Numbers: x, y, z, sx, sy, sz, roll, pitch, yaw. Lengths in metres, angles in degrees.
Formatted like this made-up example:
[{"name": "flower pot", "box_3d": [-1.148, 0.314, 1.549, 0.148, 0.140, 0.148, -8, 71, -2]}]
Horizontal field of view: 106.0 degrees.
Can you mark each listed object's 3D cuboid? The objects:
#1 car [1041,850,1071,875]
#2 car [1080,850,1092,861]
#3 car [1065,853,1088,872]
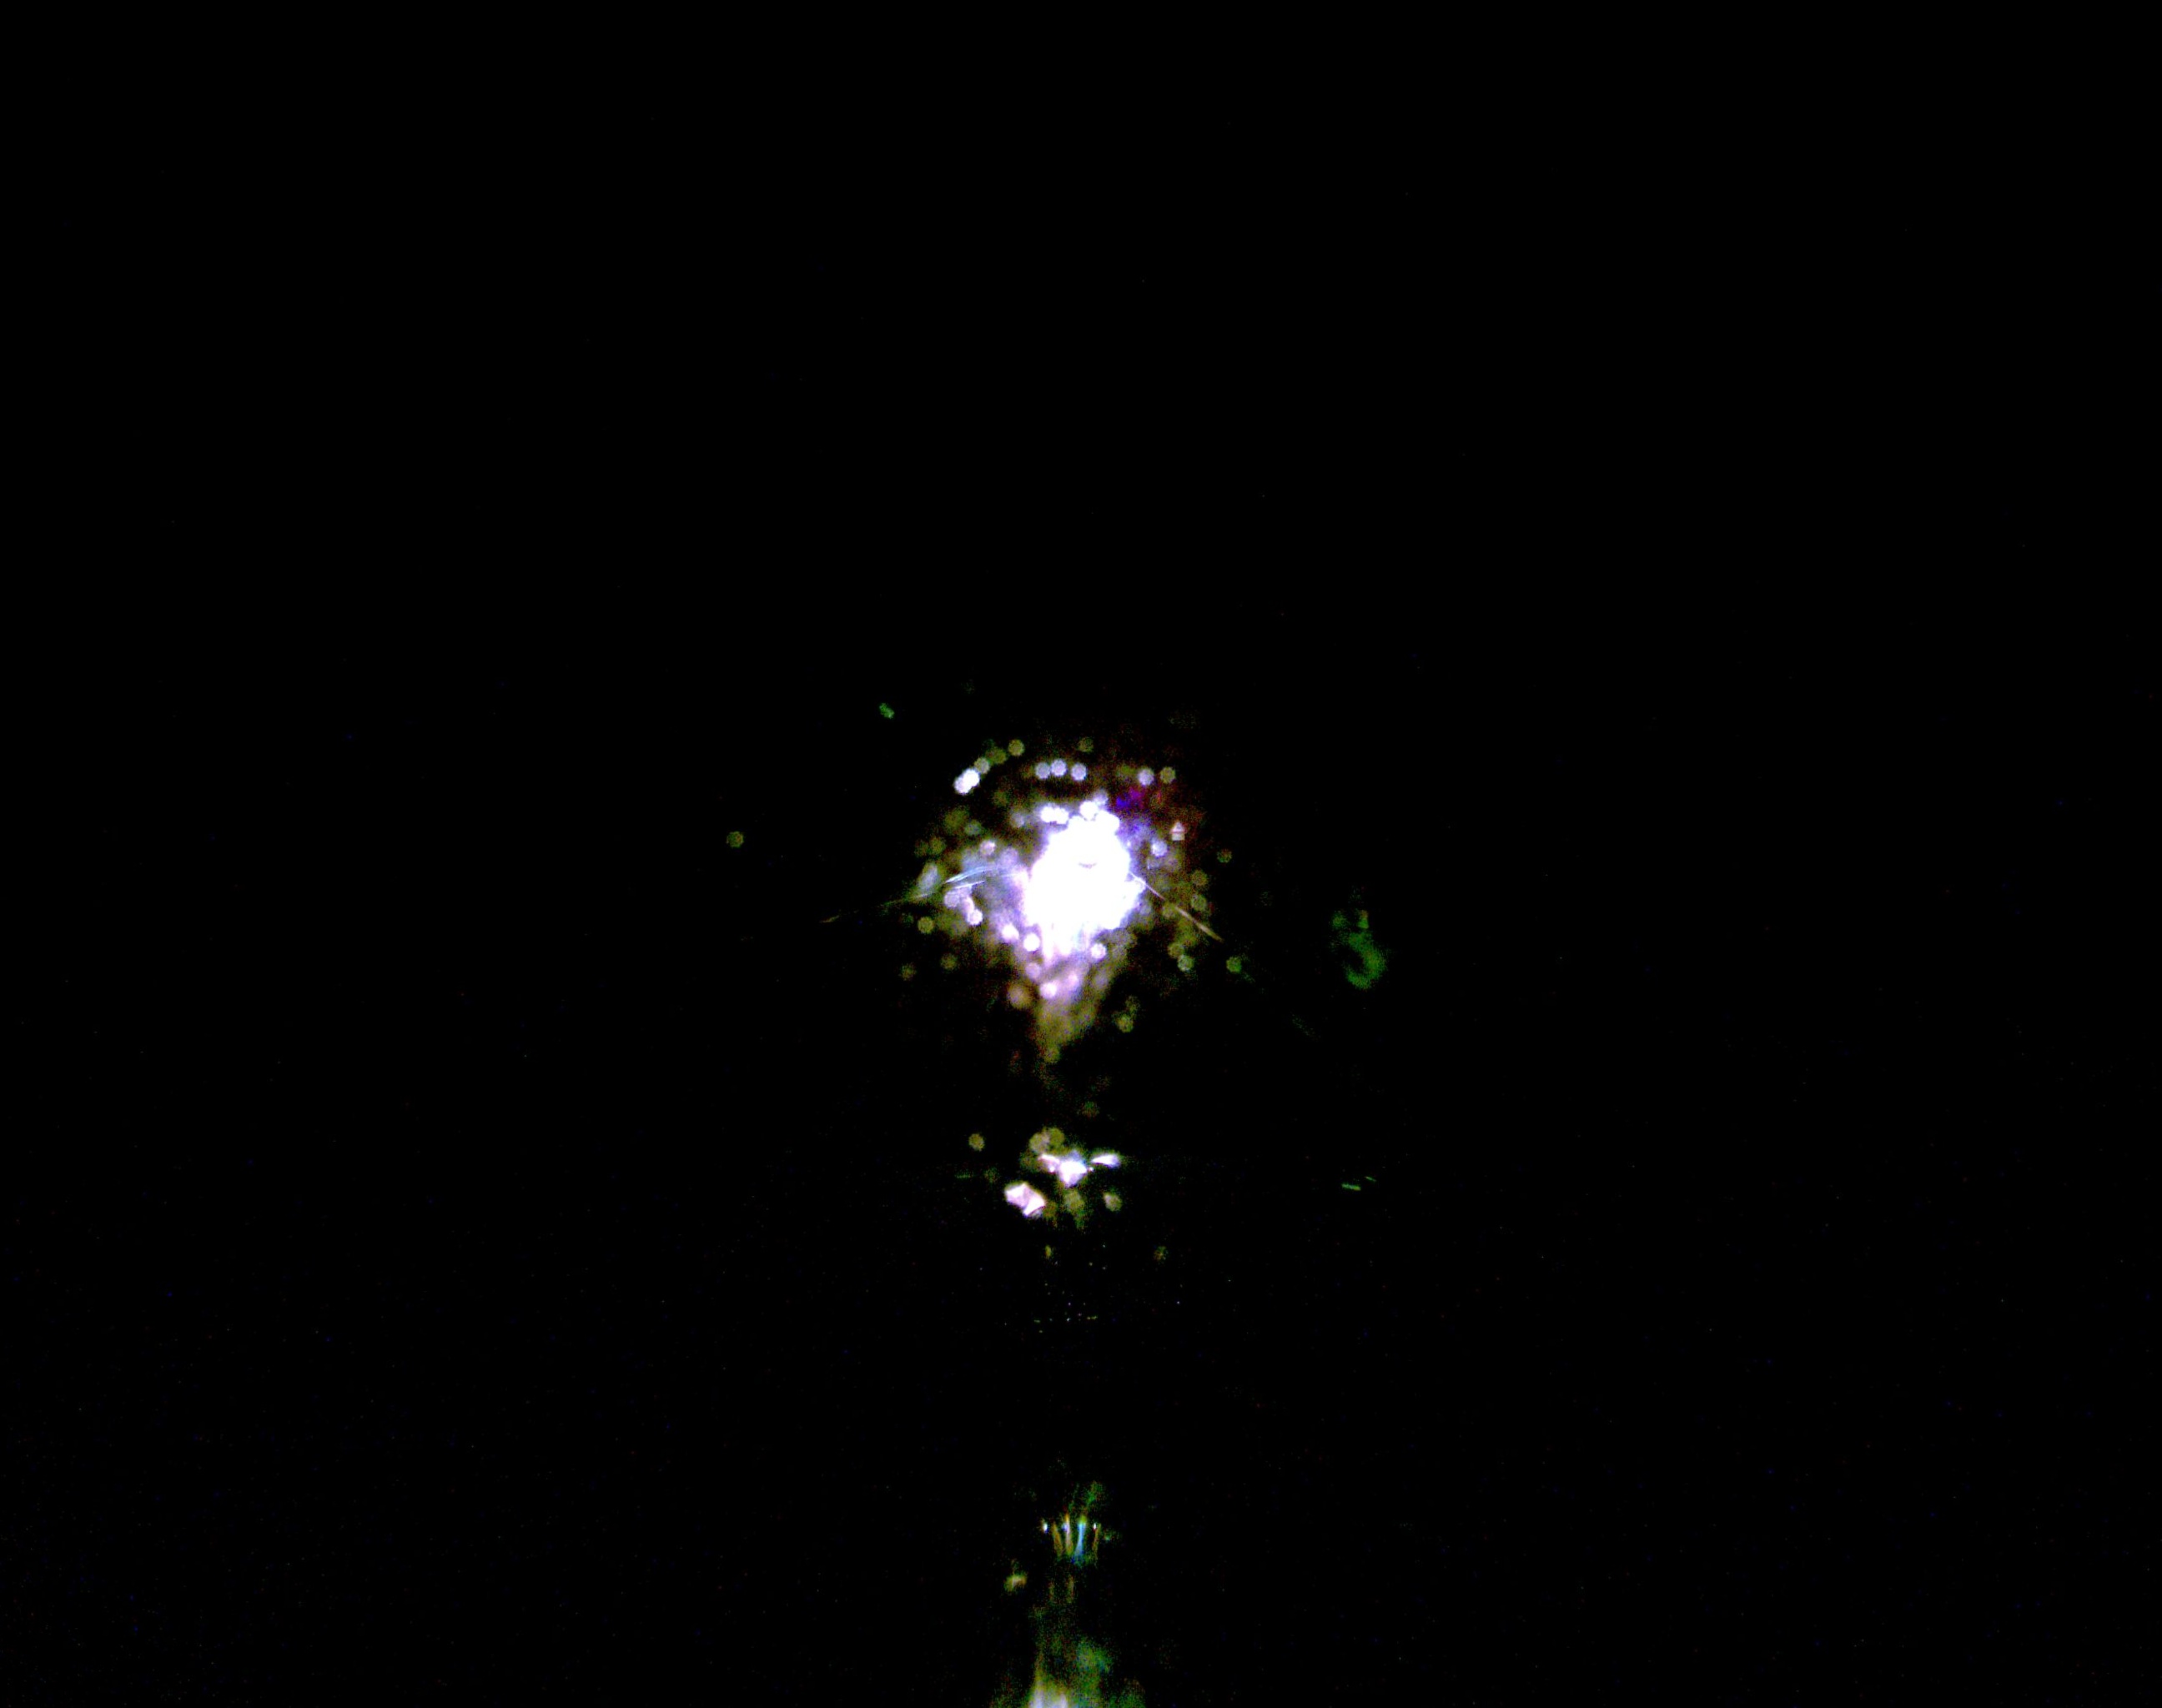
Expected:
[{"name": "car", "box_3d": [-1.812, 0.580, 60.016, 1.881, 1.671, 4.002, -2, 1, 2]}, {"name": "car", "box_3d": [0.808, 0.221, 120.915, 1.695, 1.467, 4.041, -2, 1, 0]}, {"name": "car", "box_3d": [-0.365, 0.806, 75.528, 1.881, 1.586, 4.002, -2, 1, 2]}]
